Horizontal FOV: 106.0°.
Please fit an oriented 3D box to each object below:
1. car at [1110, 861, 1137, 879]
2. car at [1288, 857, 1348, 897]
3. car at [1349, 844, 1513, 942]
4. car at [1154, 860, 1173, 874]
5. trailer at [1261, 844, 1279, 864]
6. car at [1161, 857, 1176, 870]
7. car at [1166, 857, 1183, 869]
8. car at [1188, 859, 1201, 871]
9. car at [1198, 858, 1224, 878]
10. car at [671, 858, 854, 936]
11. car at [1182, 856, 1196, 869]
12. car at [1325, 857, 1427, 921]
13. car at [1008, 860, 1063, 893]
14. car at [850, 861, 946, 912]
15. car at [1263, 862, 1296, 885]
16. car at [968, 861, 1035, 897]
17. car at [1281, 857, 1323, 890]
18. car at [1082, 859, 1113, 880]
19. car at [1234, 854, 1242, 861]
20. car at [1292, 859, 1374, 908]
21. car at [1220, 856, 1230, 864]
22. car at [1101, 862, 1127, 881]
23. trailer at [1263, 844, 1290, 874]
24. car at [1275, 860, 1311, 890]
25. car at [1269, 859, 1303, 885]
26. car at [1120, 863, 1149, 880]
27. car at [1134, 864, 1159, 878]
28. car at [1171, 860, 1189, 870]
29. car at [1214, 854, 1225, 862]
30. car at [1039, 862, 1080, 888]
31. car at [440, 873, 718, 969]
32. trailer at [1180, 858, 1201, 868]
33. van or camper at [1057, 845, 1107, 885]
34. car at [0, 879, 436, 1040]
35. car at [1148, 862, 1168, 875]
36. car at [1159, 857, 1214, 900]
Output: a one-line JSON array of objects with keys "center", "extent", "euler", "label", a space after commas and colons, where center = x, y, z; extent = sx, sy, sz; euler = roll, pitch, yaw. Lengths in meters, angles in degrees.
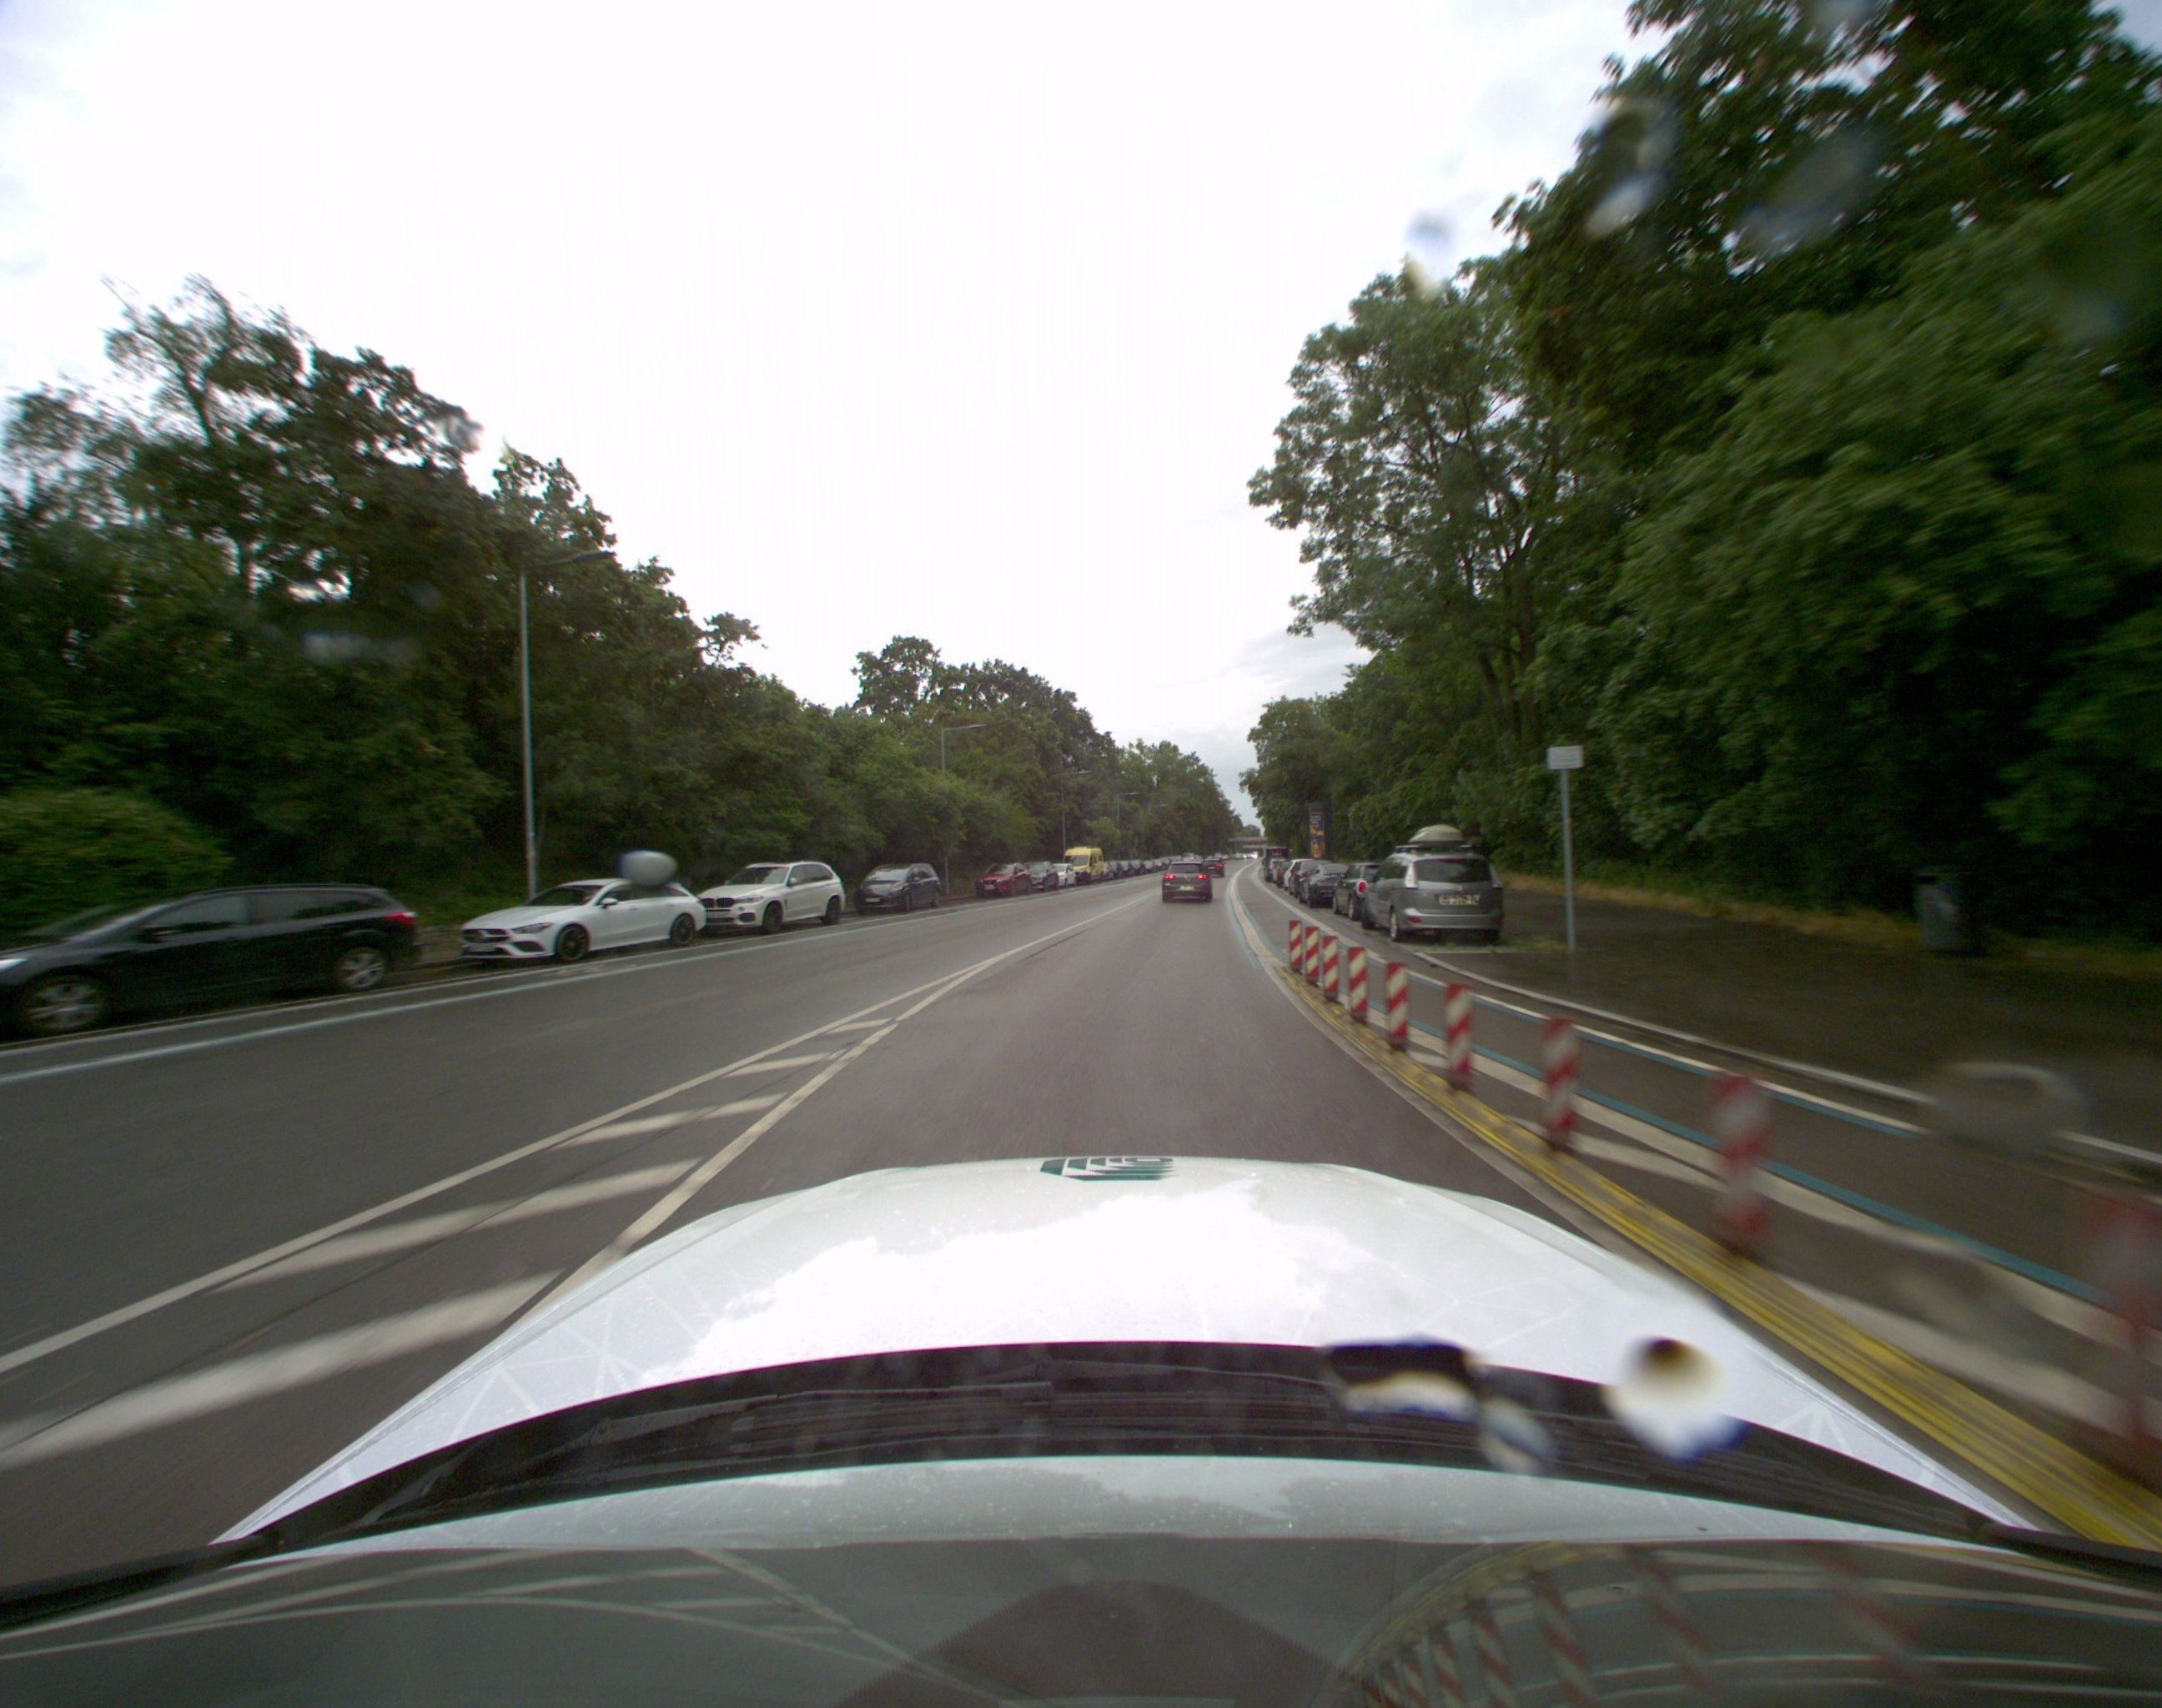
[{"center": [3.813, 1.414, 72.651], "extent": [1.591, 1.510, 3.991], "euler": [-1, 0, 14], "label": "car"}, {"center": [9.317, 0.845, 32.358], "extent": [1.844, 1.455, 4.765], "euler": [0, 0, 11], "label": "car"}, {"center": [6.451, 0.670, 15.549], "extent": [1.812, 1.615, 4.261], "euler": [-1, -1, 8], "label": "car"}, {"center": [9.716, 1.500, 95.300], "extent": [1.684, 1.584, 4.153], "euler": [-1, 0, 13], "label": "car"}, {"center": [25.342, 0.005, 109.204], "extent": [2.118, 2.560, 4.310], "euler": [-1, 0, 10], "label": "trailer"}, {"center": [10.723, 1.181, 99.720], "extent": [1.451, 1.571, 2.994], "euler": [-1, 0, 12], "label": "car"}, {"center": [12.988, 1.190, 113.046], "extent": [1.866, 1.561, 4.484], "euler": [-1, 0, 13], "label": "car"}, {"center": [19.572, 1.924, 139.947], "extent": [1.928, 2.014, 4.753], "euler": [-1, 0, 10], "label": "car"}, {"center": [10.176, 1.058, 63.525], "extent": [1.869, 1.466, 4.011], "euler": [1, 0, 10], "label": "car"}, {"center": [-7.995, 1.015, 21.100], "extent": [1.980, 1.765, 4.976], "euler": [-1, -1, 12], "label": "car"}, {"center": [17.227, 1.319, 129.644], "extent": [1.928, 2.014, 4.753], "euler": [-1, 0, 10], "label": "car"}, {"center": [7.303, 0.820, 20.498], "extent": [1.687, 1.413, 3.712], "euler": [1, -1, 8], "label": "car"}, {"center": [-2.483, 1.223, 45.719], "extent": [1.981, 1.700, 4.629], "euler": [-1, 0, 11], "label": "car"}, {"center": [-6.380, 1.092, 28.926], "extent": [1.721, 1.649, 4.583], "euler": [-1, 0, 9], "label": "car"}, {"center": [12.789, 1.233, 52.667], "extent": [1.741, 1.393, 4.457], "euler": [1, 0, 9], "label": "car"}, {"center": [-3.835, 1.194, 40.155], "extent": [1.906, 1.617, 4.505], "euler": [-2, -1, 13], "label": "car"}, {"center": [10.185, 0.882, 37.748], "extent": [1.550, 1.460, 3.686], "euler": [0, 0, 10], "label": "car"}, {"center": [1.289, 1.169, 61.727], "extent": [1.669, 1.498, 4.161], "euler": [-2, -1, 10], "label": "car"}, {"center": [38.348, 0.812, 198.914], "extent": [1.810, 1.706, 3.870], "euler": [0, -1, 13], "label": "car"}, {"center": [7.917, 0.877, 25.930], "extent": [1.842, 1.399, 4.395], "euler": [0, -1, 8], "label": "car"}, {"center": [39.208, 1.564, 221.807], "extent": [2.143, 2.014, 5.049], "euler": [-1, 0, 14], "label": "car"}, {"center": [2.749, 1.410, 67.390], "extent": [1.591, 1.510, 3.150], "euler": [-1, 0, 14], "label": "car"}, {"center": [15.233, 0.388, 63.581], "extent": [1.893, 2.247, 4.784], "euler": [-1, 0, 12], "label": "trailer"}, {"center": [11.077, 1.071, 42.785], "extent": [1.648, 1.465, 3.913], "euler": [1, 0, 12], "label": "car"}, {"center": [12.054, 1.029, 48.071], "extent": [1.608, 1.466, 4.009], "euler": [0, 0, 8], "label": "car"}, {"center": [5.075, 1.642, 76.828], "extent": [1.979, 1.452, 4.154], "euler": [-1, 0, 14], "label": "car"}, {"center": [6.619, 1.716, 81.873], "extent": [1.857, 1.304, 4.485], "euler": [-1, 0, 12], "label": "car"}, {"center": [14.549, 1.598, 119.517], "extent": [1.980, 1.488, 4.484], "euler": [-1, 0, 13], "label": "car"}, {"center": [33.680, 0.931, 197.837], "extent": [2.143, 2.014, 5.049], "euler": [-1, 0, 14], "label": "car"}, {"center": [-1.313, 1.264, 50.463], "extent": [1.606, 1.449, 3.670], "euler": [-2, -1, 13], "label": "car"}, {"center": [-9.271, 1.150, 15.626], "extent": [1.707, 1.460, 4.724], "euler": [-1, 0, 13], "label": "car"}, {"center": [18.119, 1.481, 134.354], "extent": [1.610, 1.629, 3.694], "euler": [-2, -1, 44], "label": "trailer"}, {"center": [0.136, 0.727, 56.757], "extent": [2.128, 2.627, 5.703], "euler": [-1, 0, 13], "label": "van or camper"}, {"center": [-10.814, 1.084, 9.826], "extent": [1.736, 1.445, 4.605], "euler": [-1, 0, 15], "label": "car"}, {"center": [8.585, 1.619, 90.492], "extent": [1.684, 1.300, 4.207], "euler": [-1, 0, 13], "label": "car"}, {"center": [3.838, 0.899, 29.995], "extent": [1.862, 1.441, 4.303], "euler": [0, -1, 6], "label": "car"}]
